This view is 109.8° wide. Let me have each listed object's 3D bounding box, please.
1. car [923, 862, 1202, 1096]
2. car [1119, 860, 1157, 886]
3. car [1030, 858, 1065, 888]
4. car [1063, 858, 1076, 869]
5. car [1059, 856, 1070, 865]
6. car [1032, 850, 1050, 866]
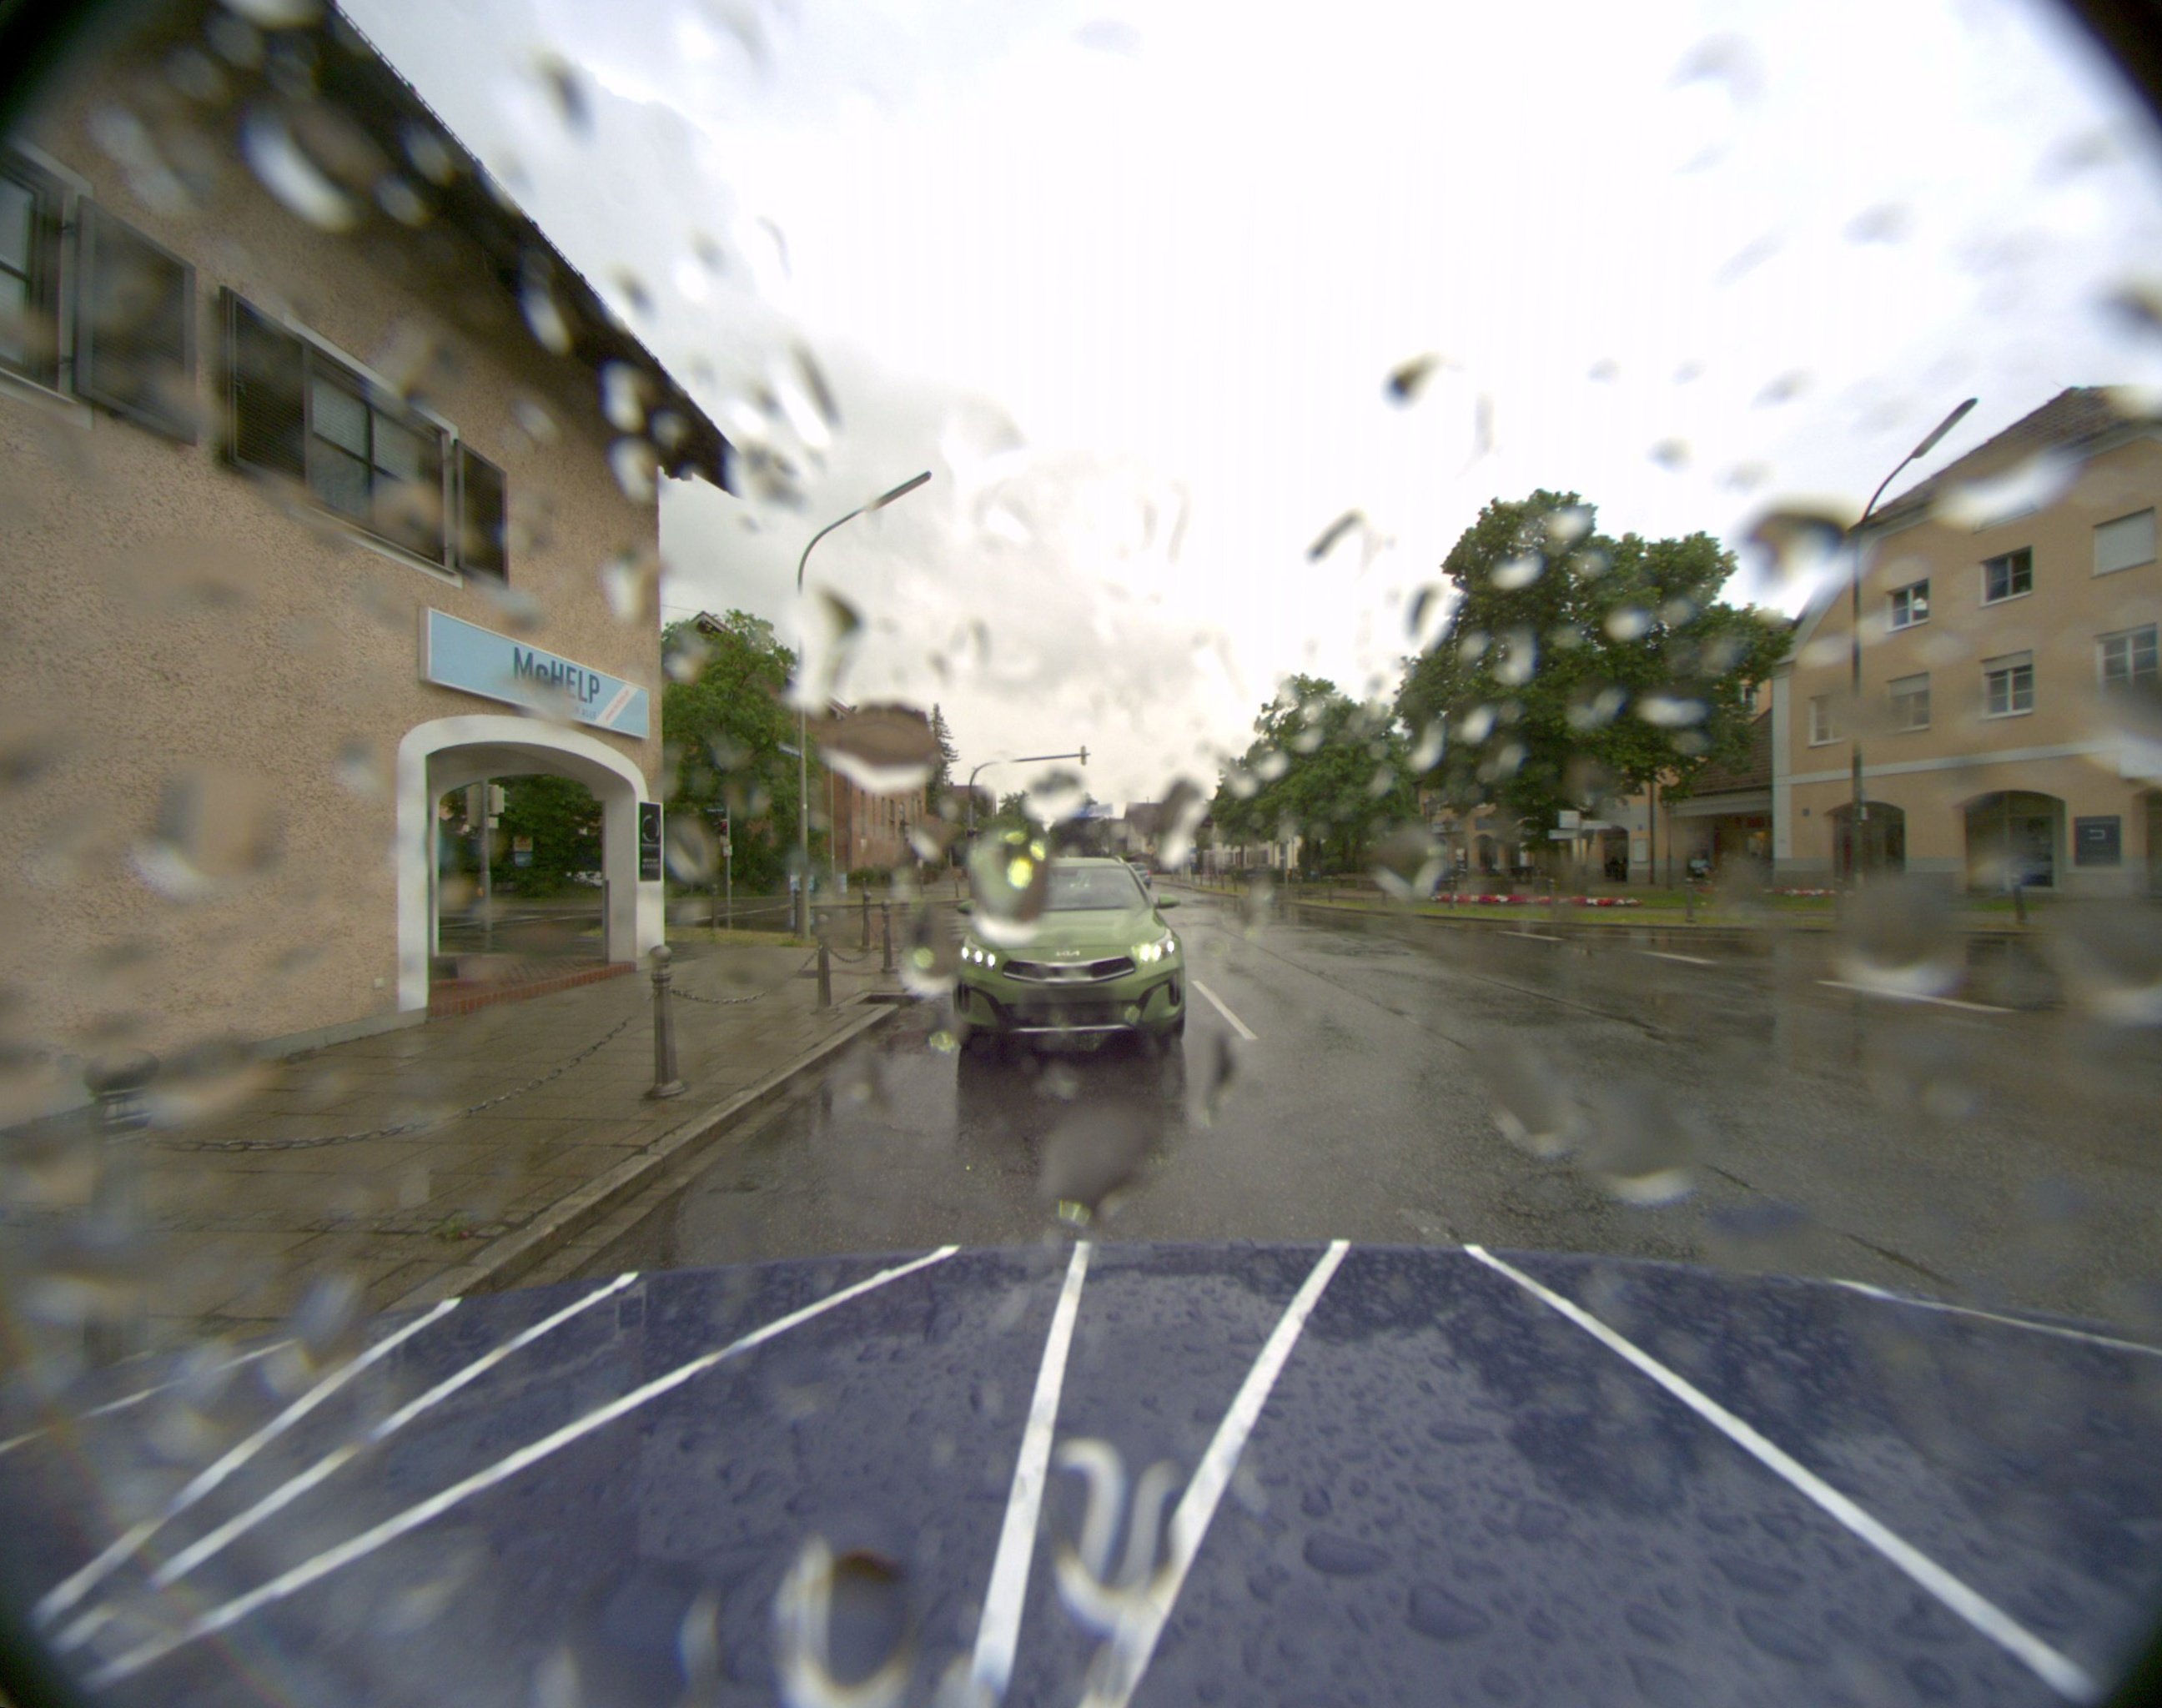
[{"bbox_3d":[-0.098,0.873,7.207,1.872,1.505,4.105,-1,0,1],"label":"car"},{"bbox_3d":[3.461,1.125,46.898,1.873,1.447,4.103,-1,0,-2],"label":"car"},{"bbox_3d":[-1.782,0.966,40.488,1.736,1.489,4.609,0,0,-3],"label":"car"},{"bbox_3d":[-1.882,1.514,121.586,1.810,1.677,3.998,-1,0,-4],"label":"car"},{"bbox_3d":[-3.207,1.182,146.421,1.810,1.677,3.998,-1,0,-4],"label":"car"},{"bbox_3d":[-5.344,0.501,100.952,2.218,1.977,4.952,0,0,-5],"label":"car"}]
